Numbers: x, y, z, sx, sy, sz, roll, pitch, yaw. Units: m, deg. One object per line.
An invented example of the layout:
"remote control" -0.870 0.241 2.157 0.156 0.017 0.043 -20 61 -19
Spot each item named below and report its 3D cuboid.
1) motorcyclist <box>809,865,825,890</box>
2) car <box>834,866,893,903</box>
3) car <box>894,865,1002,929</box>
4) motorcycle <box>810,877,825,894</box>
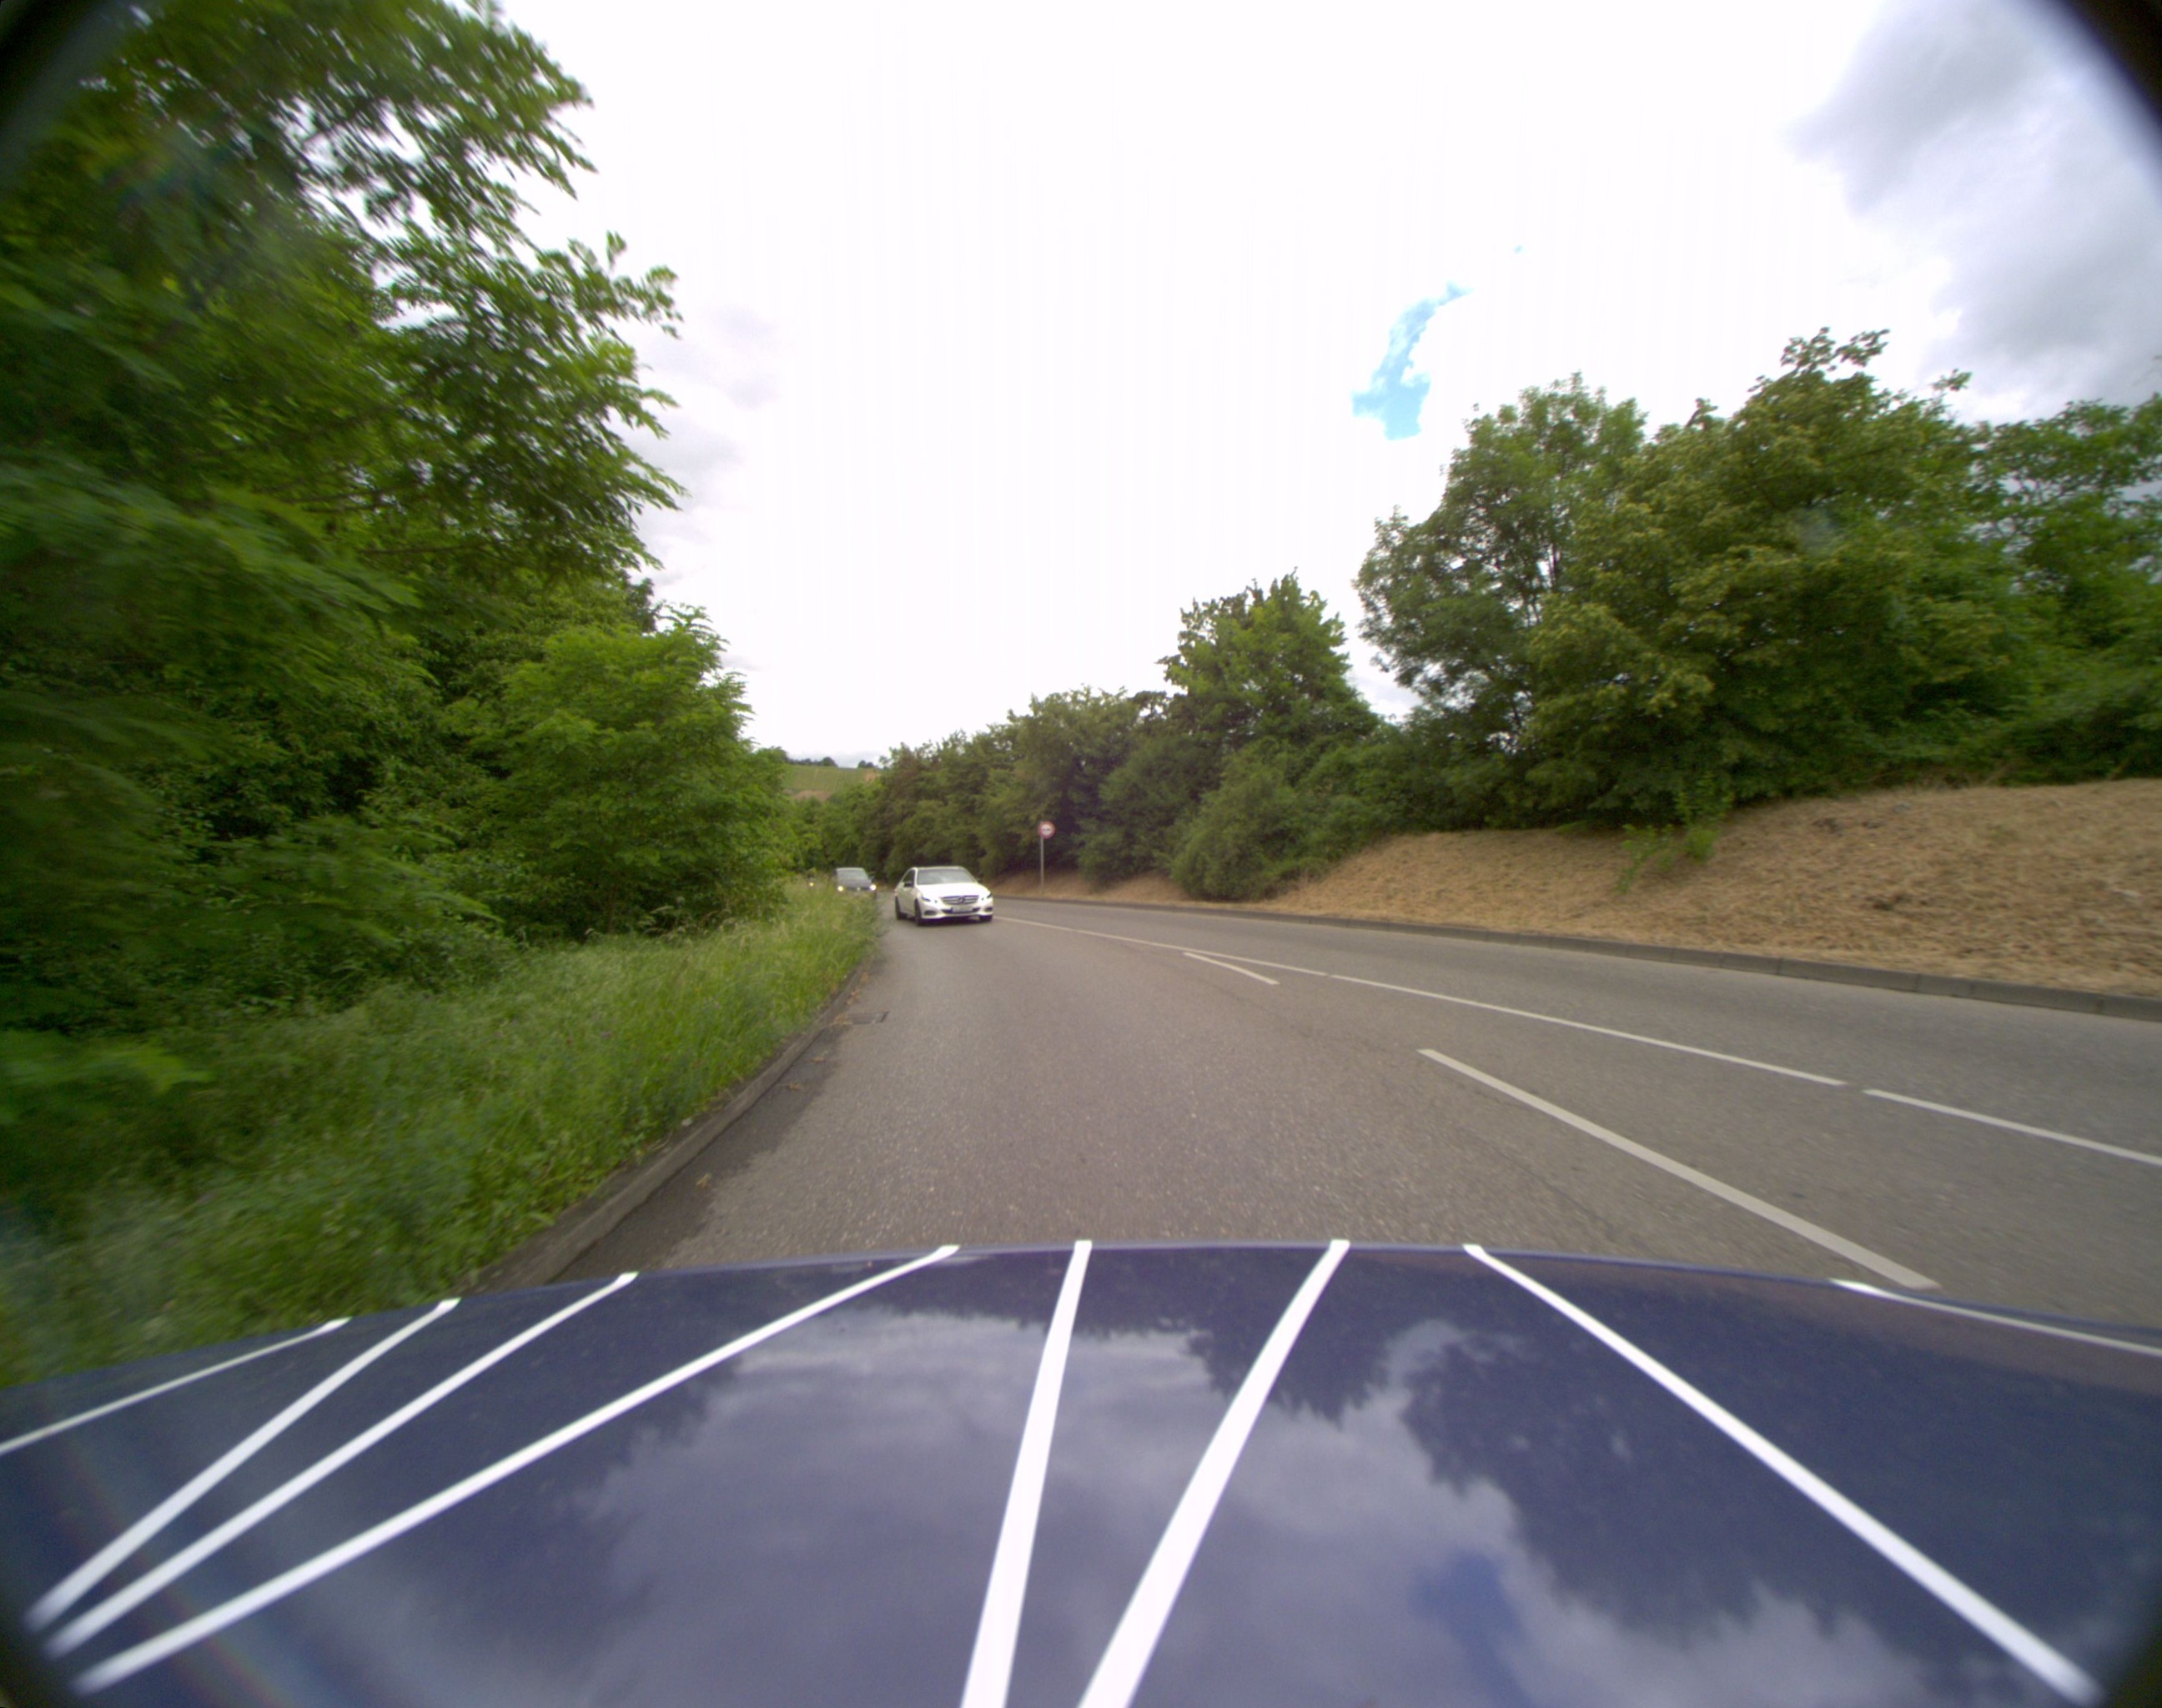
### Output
"motorcyclist" -15.694 1.372 45.150 0.820 1.457 0.785 -2 1 -24
"car" -9.599 1.326 33.384 1.827 1.535 3.718 0 -2 -27
"car" -3.607 1.038 19.979 1.891 1.414 3.993 -3 0 -23
"motorcycle" -15.648 1.849 45.098 0.703 0.970 1.691 -3 0 -23
